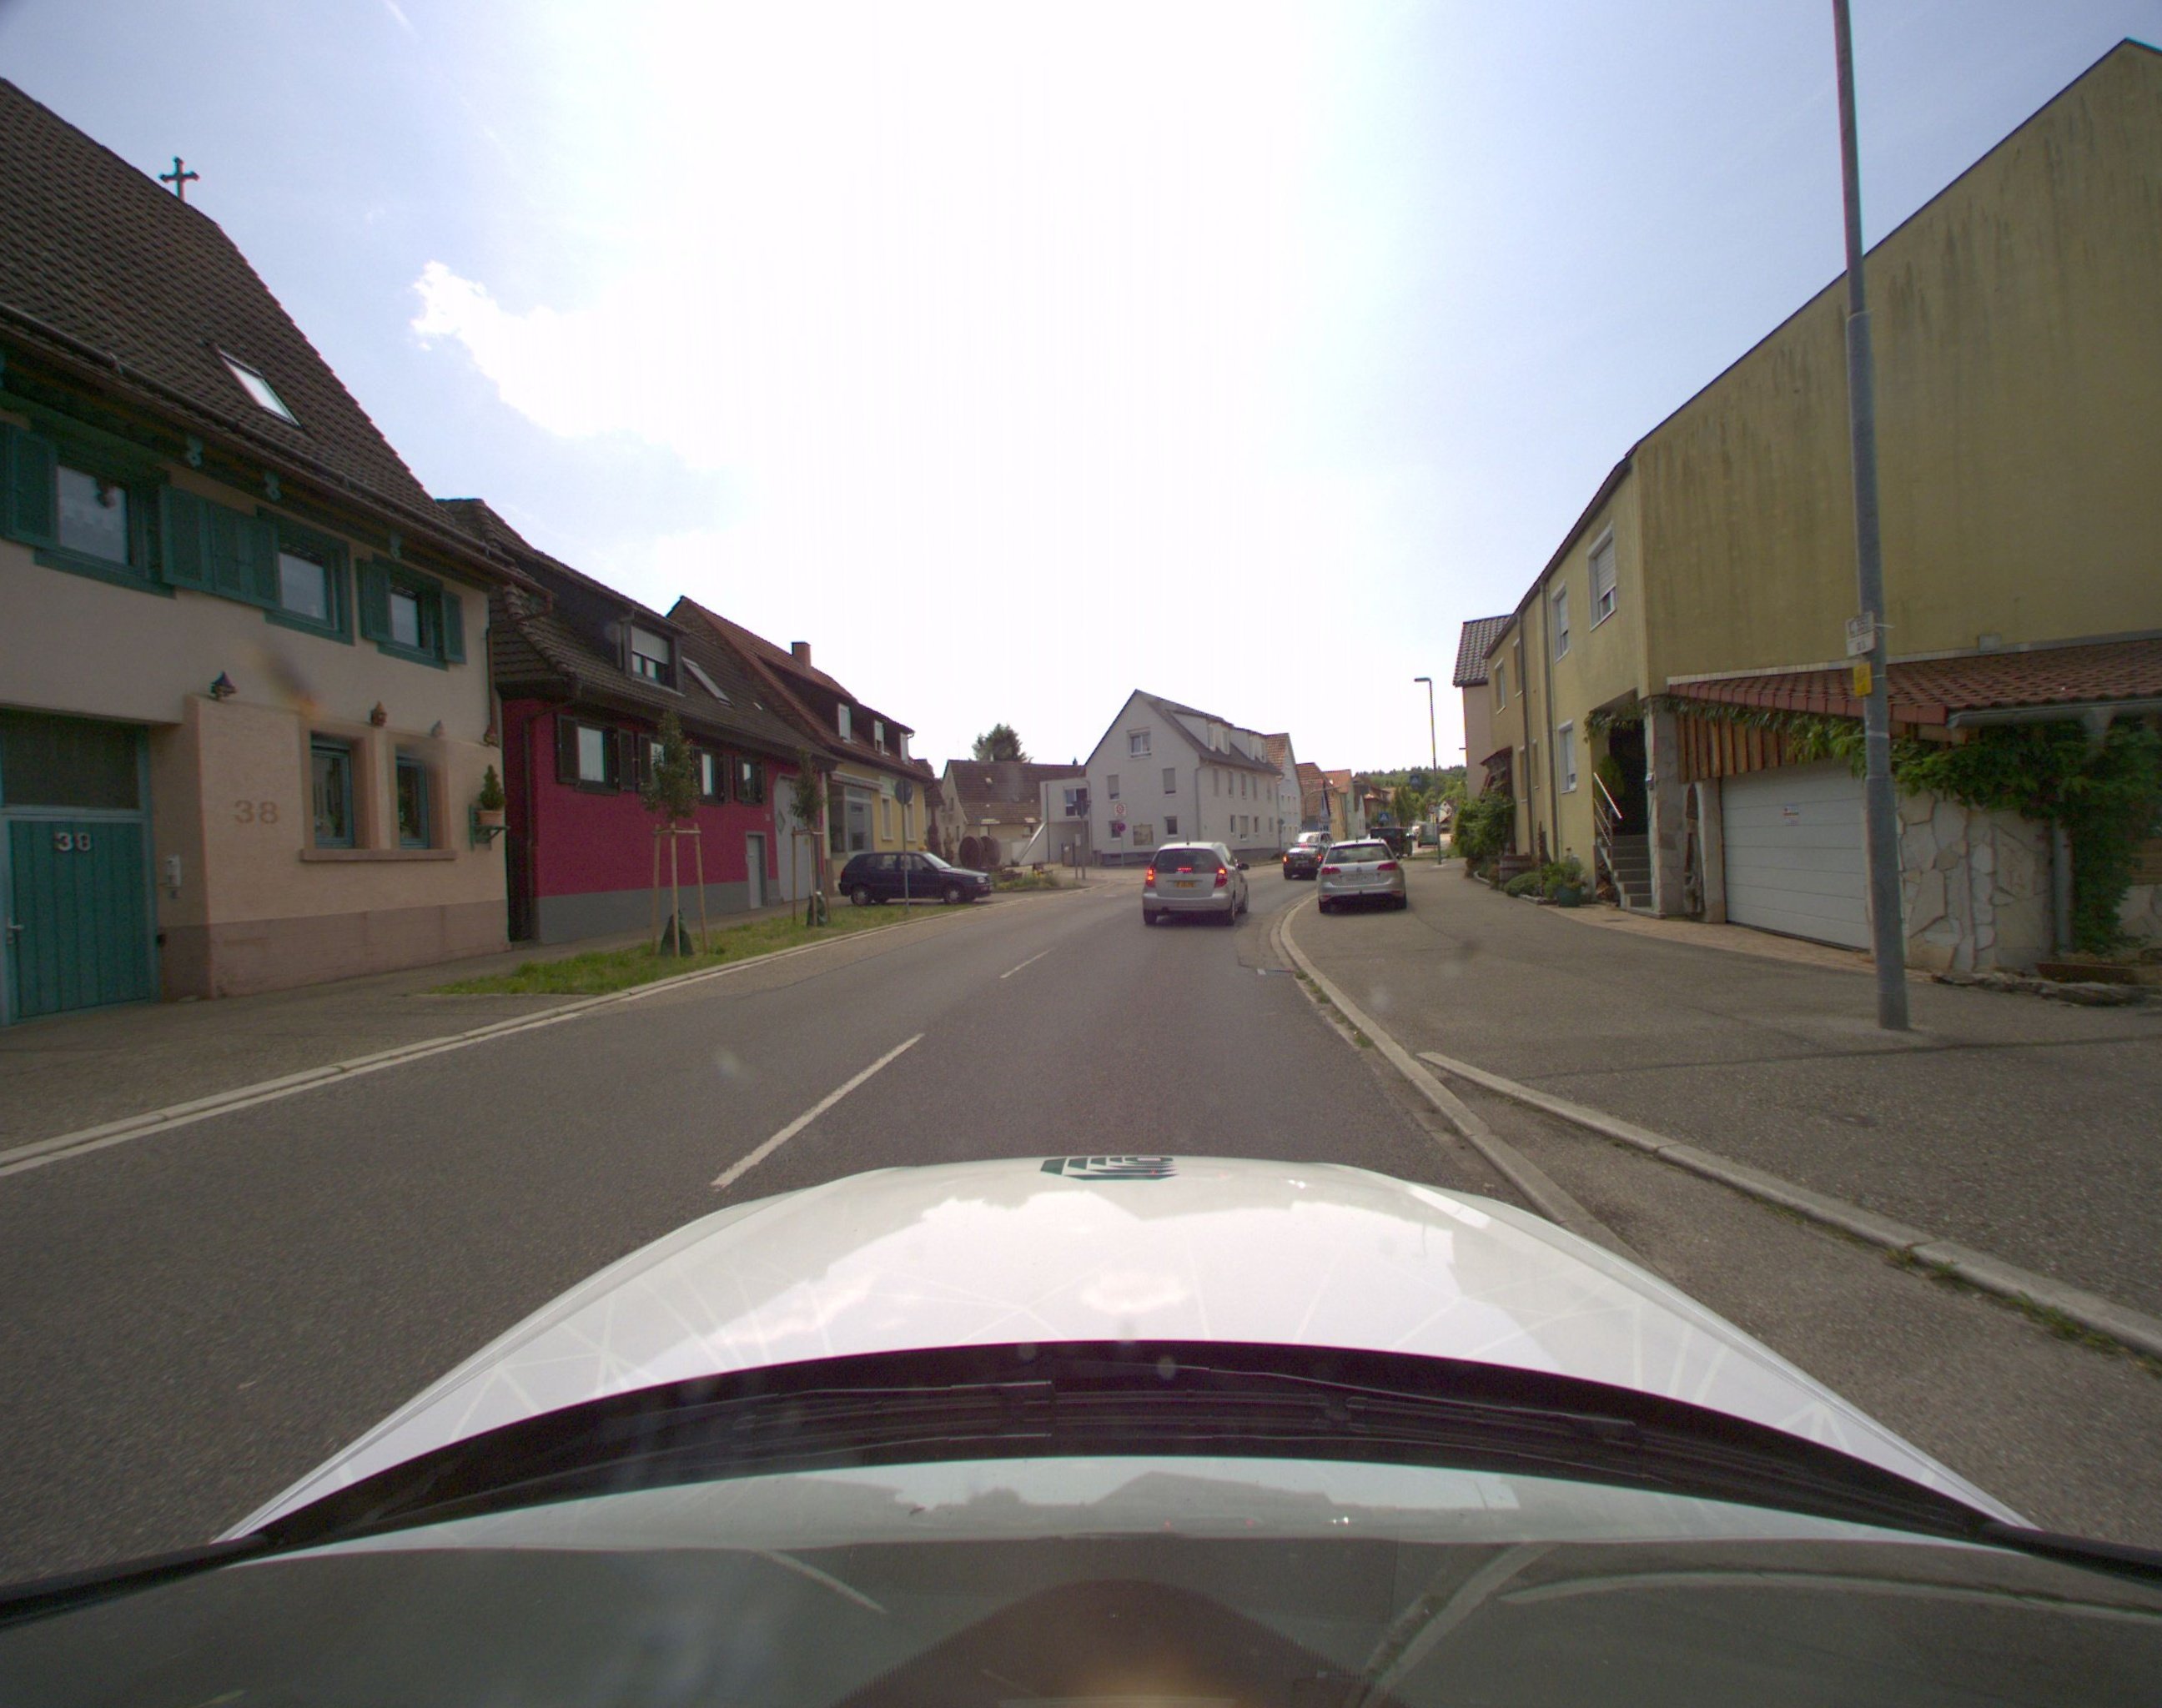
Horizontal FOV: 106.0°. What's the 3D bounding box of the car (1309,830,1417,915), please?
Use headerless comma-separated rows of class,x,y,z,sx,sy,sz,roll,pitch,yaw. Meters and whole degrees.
car,6.093,0.347,17.920,1.870,1.530,4.355,-5,-1,17

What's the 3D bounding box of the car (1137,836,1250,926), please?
car,2.451,0.468,16.933,1.797,1.643,3.745,0,1,16

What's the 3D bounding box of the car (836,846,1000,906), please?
car,-4.297,0.570,21.815,3.950,1.464,1.723,-1,0,3

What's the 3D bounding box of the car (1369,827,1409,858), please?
car,19.700,-0.689,51.994,1.975,1.816,4.023,-1,-1,26

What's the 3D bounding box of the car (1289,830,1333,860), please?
car,14.863,-0.519,52.407,1.975,1.800,4.963,-1,-1,24

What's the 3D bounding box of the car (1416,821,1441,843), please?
car,34.304,-2.176,80.304,1.975,2.014,4.024,-1,-1,26

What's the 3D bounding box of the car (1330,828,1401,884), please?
car,8.659,0.077,24.871,1.869,1.530,4.019,-1,-1,19

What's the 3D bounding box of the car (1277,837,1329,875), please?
car,8.970,0.091,32.695,1.736,1.416,4.019,-1,-1,19
